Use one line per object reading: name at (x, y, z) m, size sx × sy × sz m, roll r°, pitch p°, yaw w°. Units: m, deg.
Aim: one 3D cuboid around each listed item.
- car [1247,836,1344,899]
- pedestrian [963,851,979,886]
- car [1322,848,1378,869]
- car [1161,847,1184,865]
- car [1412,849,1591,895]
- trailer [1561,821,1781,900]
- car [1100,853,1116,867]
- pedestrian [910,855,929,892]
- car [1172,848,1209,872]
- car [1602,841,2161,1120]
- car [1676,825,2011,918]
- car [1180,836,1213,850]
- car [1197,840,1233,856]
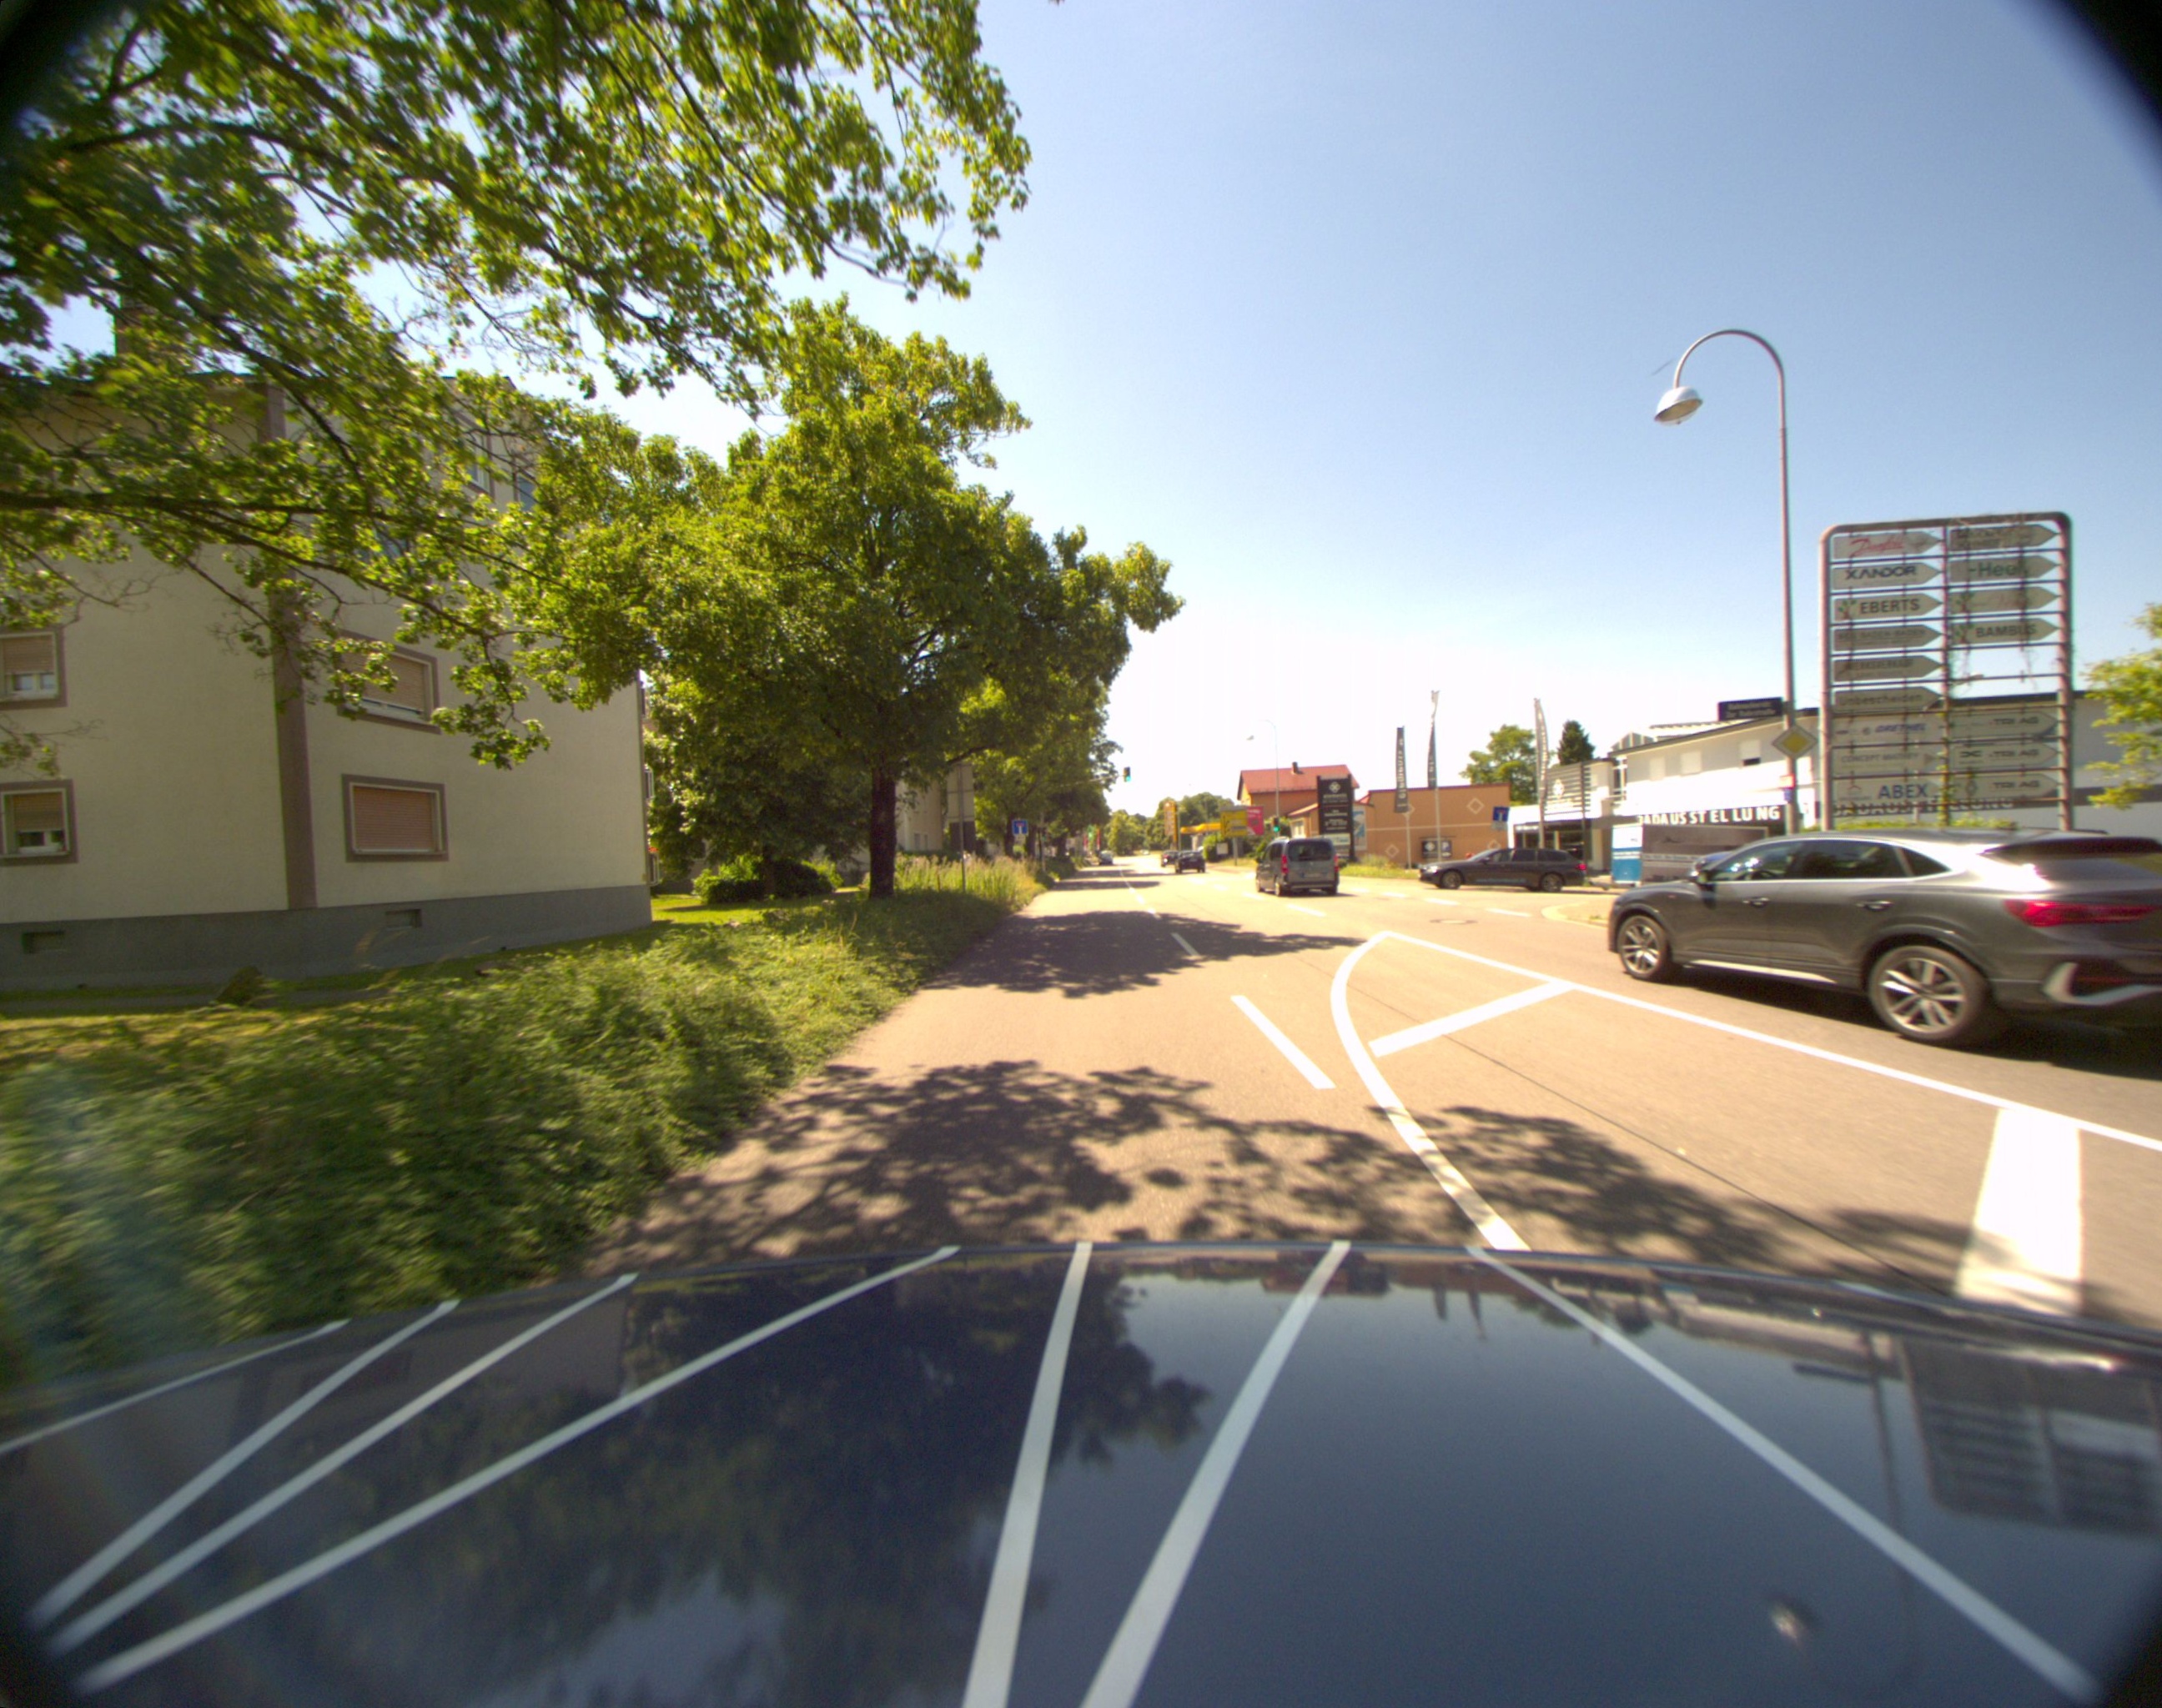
car at (6.750, 0.406, 24.447) m, size 1.815 × 1.752 × 4.570 m, roll -3°, pitch 0°, yaw 1°
pedestrian at (-5.977, 0.786, 41.374) m, size 0.674 × 1.862 × 0.901 m, roll -2°, pitch 1°, yaw -17°
car at (22.906, 0.384, 64.802) m, size 4.223 × 1.599 × 1.772 m, roll -2°, pitch 1°, yaw 10°
car at (8.695, 0.167, 71.710) m, size 1.929 × 1.546 × 4.305 m, roll -2°, pitch 0°, yaw 9°
car at (14.031, 0.565, 25.675) m, size 4.961 × 1.379 × 1.920 m, roll 1°, pitch 1°, yaw 15°
trailer at (19.004, 0.177, 24.715) m, size 5.360 × 2.392 × 1.941 m, roll 1°, pitch 1°, yaw 7°
car at (3.284, 0.723, 91.140) m, size 1.771 × 1.521 × 4.130 m, roll -2°, pitch 0°, yaw 3°
pedestrian at (-7.483, 0.894, 35.251) m, size 0.720 × 1.624 × 0.851 m, roll -2°, pitch 1°, yaw -5°
car at (7.363, 0.362, 51.261) m, size 1.874 × 1.498 × 4.052 m, roll -2°, pitch 0°, yaw 0°
car at (6.765, 0.693, 6.425) m, size 1.798 × 1.527 × 4.315 m, roll -2°, pitch 1°, yaw 1°
car at (14.088, 0.317, 14.328) m, size 4.141 × 1.496 × 1.779 m, roll -2°, pitch 1°, yaw 13°
car at (16.492, -1.553, 108.788) m, size 4.401 × 1.750 × 1.875 m, roll -2°, pitch 1°, yaw -2°
car at (17.209, -0.793, 97.546) m, size 4.190 × 1.858 × 1.875 m, roll -2°, pitch 1°, yaw -2°
